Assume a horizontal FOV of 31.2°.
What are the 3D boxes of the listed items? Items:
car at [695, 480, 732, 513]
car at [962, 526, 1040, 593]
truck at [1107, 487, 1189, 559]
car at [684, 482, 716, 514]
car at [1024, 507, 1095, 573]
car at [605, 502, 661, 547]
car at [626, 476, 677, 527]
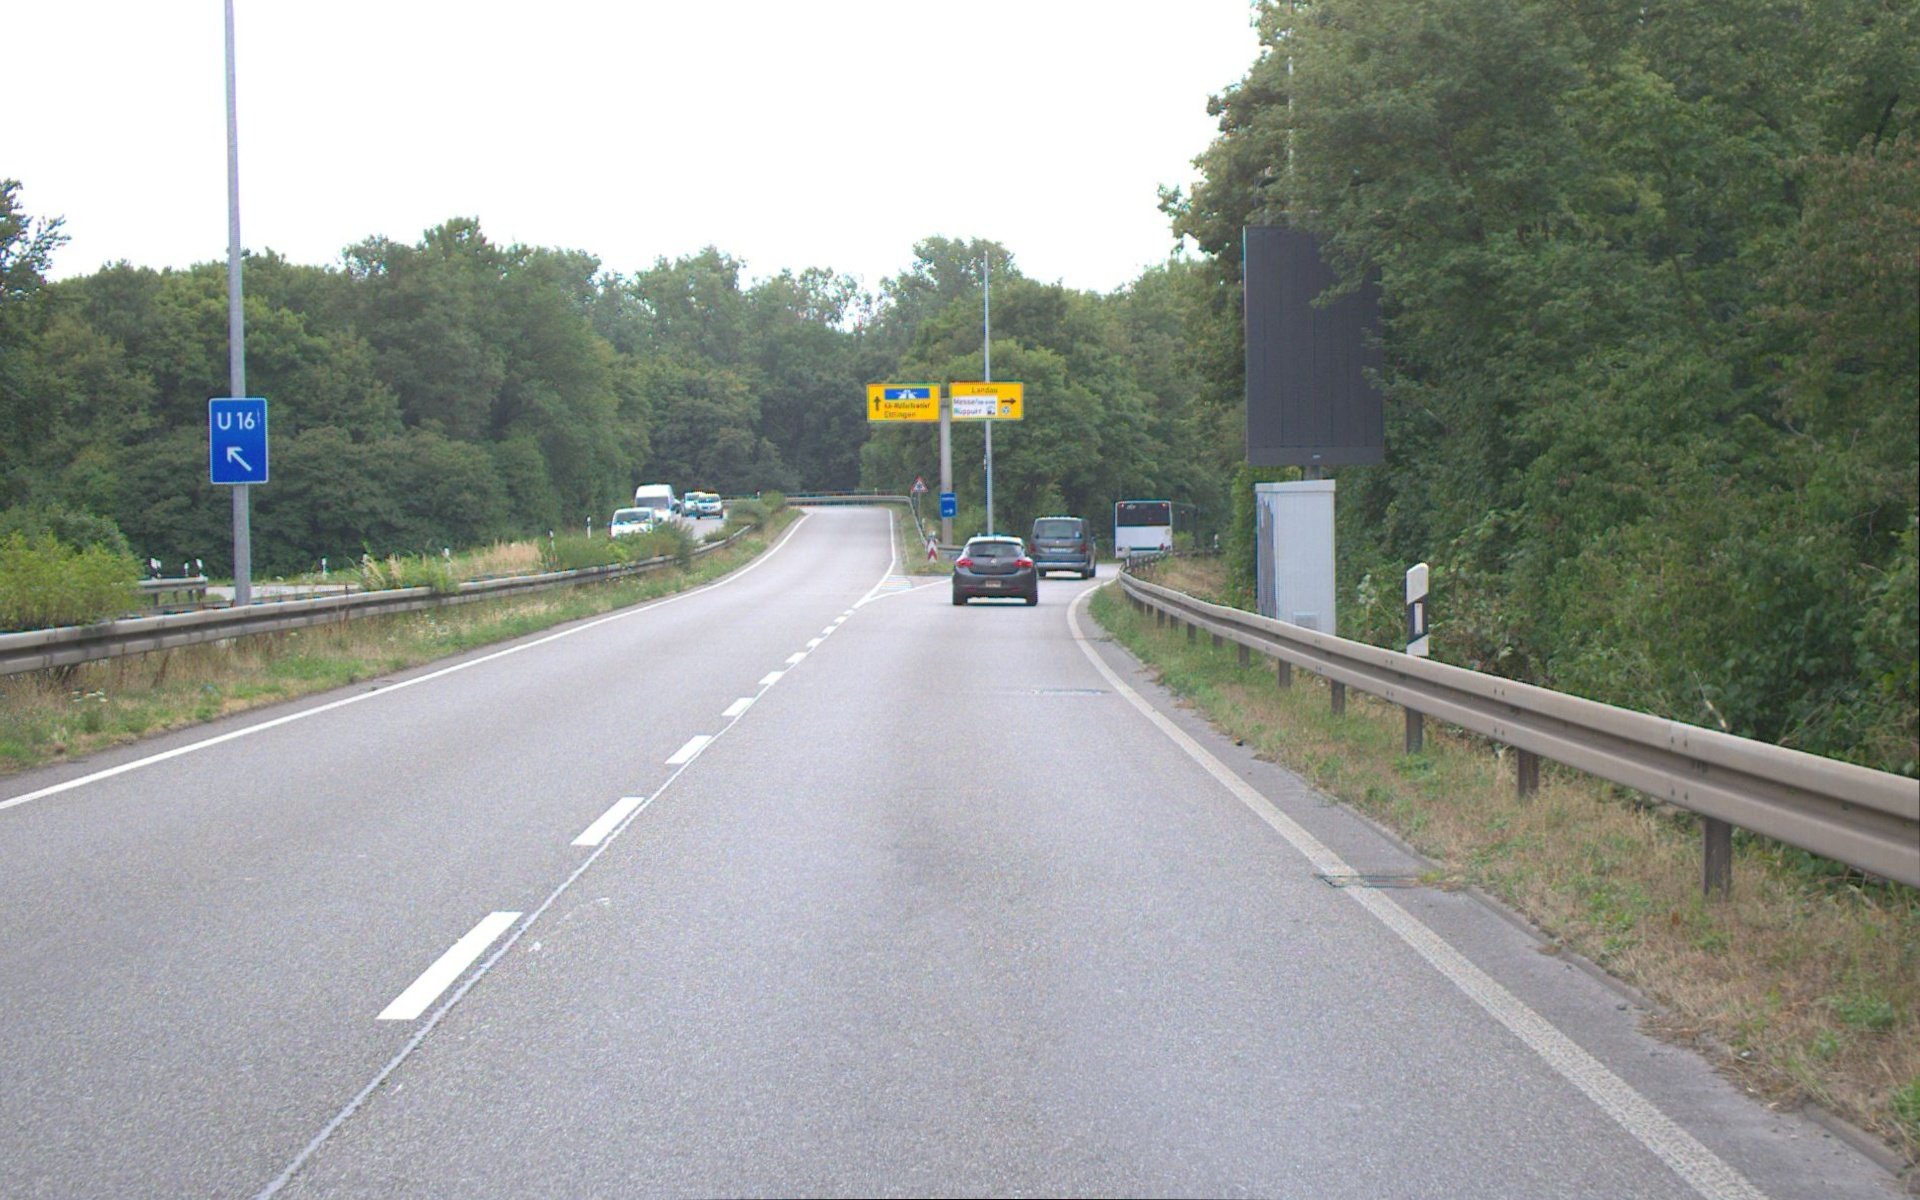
[{"bbox_3d":[-15.544,-6.515,216.668,1.993,2.006,4.000,0,2,0],"label":"car"},{"bbox_3d":[0.866,-0.856,73.857,1.625,1.373,4.000,0,0,0],"label":"car"},{"bbox_3d":[8.132,-3.257,147.805,2.981,2.875,7.988,0,0,7],"label":"truck"},{"bbox_3d":[-17.714,-6.942,234.390,1.993,2.007,4.000,0,0,-3],"label":"car"},{"bbox_3d":[3.168,-1.897,109.656,2.148,2.007,4.000,0,0,0],"label":"car"},{"bbox_3d":[-14.099,-3.265,148.239,1.993,1.840,4.001,0,2,0],"label":"car"},{"bbox_3d":[-15.890,-5.083,177.100,2.118,2.582,5.040,0,2,0],"label":"car"}]
